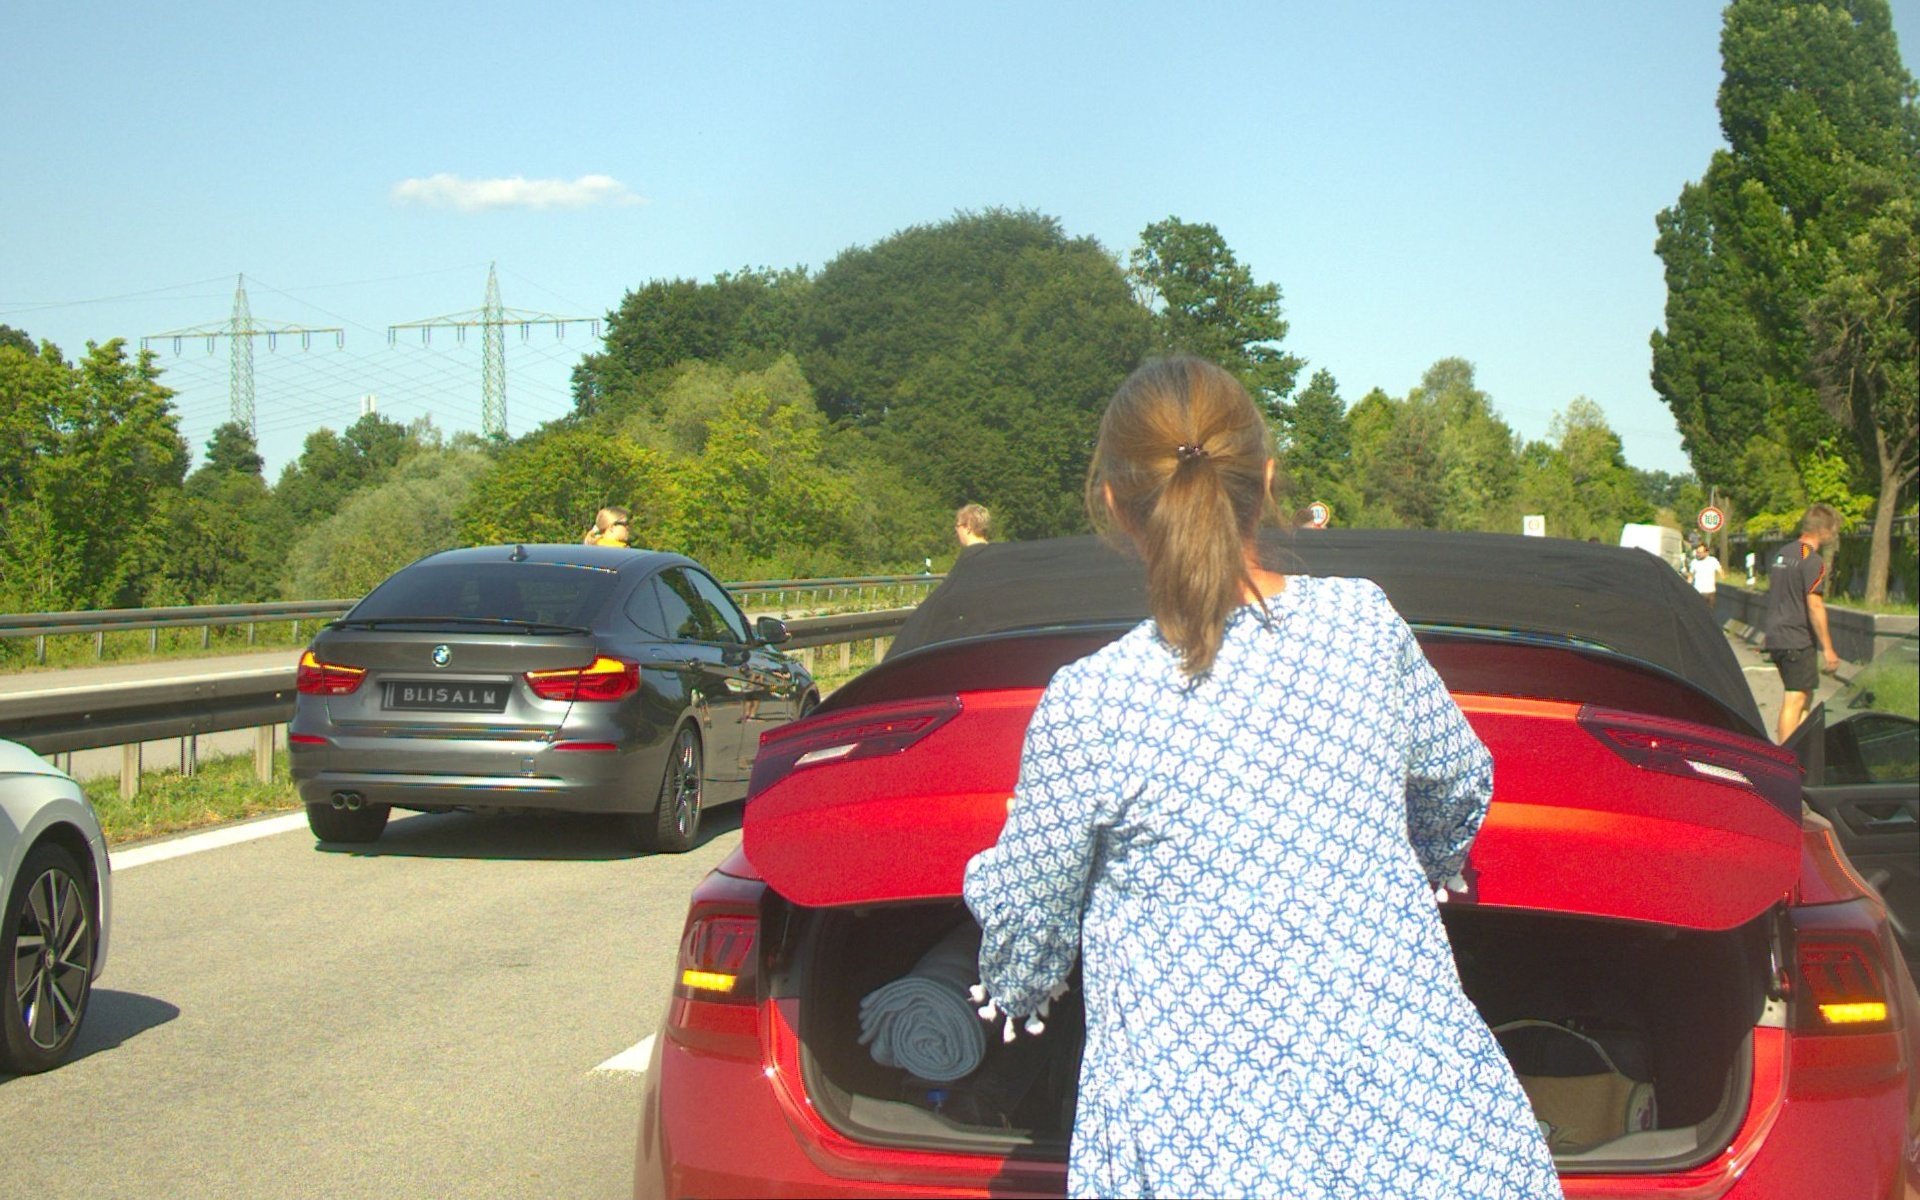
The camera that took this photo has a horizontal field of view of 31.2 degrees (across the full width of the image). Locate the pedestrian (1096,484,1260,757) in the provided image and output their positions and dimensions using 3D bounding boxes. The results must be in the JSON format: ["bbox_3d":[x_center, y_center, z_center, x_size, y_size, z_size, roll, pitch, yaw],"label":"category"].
[{"bbox_3d":[1.555,0.133,24.806,1.105,1.906,1.257,-1,1,1],"label":"pedestrian"}]

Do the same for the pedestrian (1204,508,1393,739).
[{"bbox_3d":[2.672,0.181,27.226,1.087,1.782,1.108,1,1,-20],"label":"pedestrian"}]

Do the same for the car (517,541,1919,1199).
[{"bbox_3d":[0.644,0.652,6.035,1.733,1.482,4.209,1,1,9],"label":"car"}]

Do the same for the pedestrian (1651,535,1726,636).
[{"bbox_3d":[12.432,-0.255,58.643,0.997,1.683,1.009,1,1,26],"label":"pedestrian"}]

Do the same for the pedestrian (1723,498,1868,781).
[{"bbox_3d":[5.334,0.241,21.930,0.812,1.753,0.827,1,1,17],"label":"pedestrian"}]

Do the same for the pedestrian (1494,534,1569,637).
[{"bbox_3d":[9.629,-0.248,57.888,1.114,1.683,0.972,1,1,16],"label":"pedestrian"}]

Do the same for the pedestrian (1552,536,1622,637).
[{"bbox_3d":[10.700,-0.237,58.659,1.057,1.683,1.016,1,1,15],"label":"pedestrian"}]

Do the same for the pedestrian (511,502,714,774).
[{"bbox_3d":[-2.299,0.241,22.899,1.041,1.757,1.118,-1,1,12],"label":"pedestrian"}]

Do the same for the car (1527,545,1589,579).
[{"bbox_3d":[27.369,-1.741,157.329,1.735,1.482,4.204,1,1,25],"label":"car"}]

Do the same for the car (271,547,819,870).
[{"bbox_3d":[-1.979,0.453,17.718,1.695,1.421,4.332,1,1,9],"label":"car"}]

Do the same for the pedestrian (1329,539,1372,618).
[{"bbox_3d":[8.362,-0.466,73.665,0.792,1.683,0.792,1,1,14],"label":"pedestrian"}]

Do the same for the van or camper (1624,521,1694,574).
[{"bbox_3d":[31.518,-2.360,154.954,1.996,2.308,4.464,1,1,26],"label":"van or camper"}]

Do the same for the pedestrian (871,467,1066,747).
[{"bbox_3d":[0.070,0.038,23.742,1.066,1.876,1.092,0,1,17],"label":"pedestrian"}]

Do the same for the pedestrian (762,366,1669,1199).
[{"bbox_3d":[0.289,0.621,3.571,0.839,1.677,0.743,0,1,9],"label":"pedestrian"}]

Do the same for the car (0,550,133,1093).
[{"bbox_3d":[-3.568,0.602,8.058,1.695,1.436,4.209,1,1,9],"label":"car"}]
